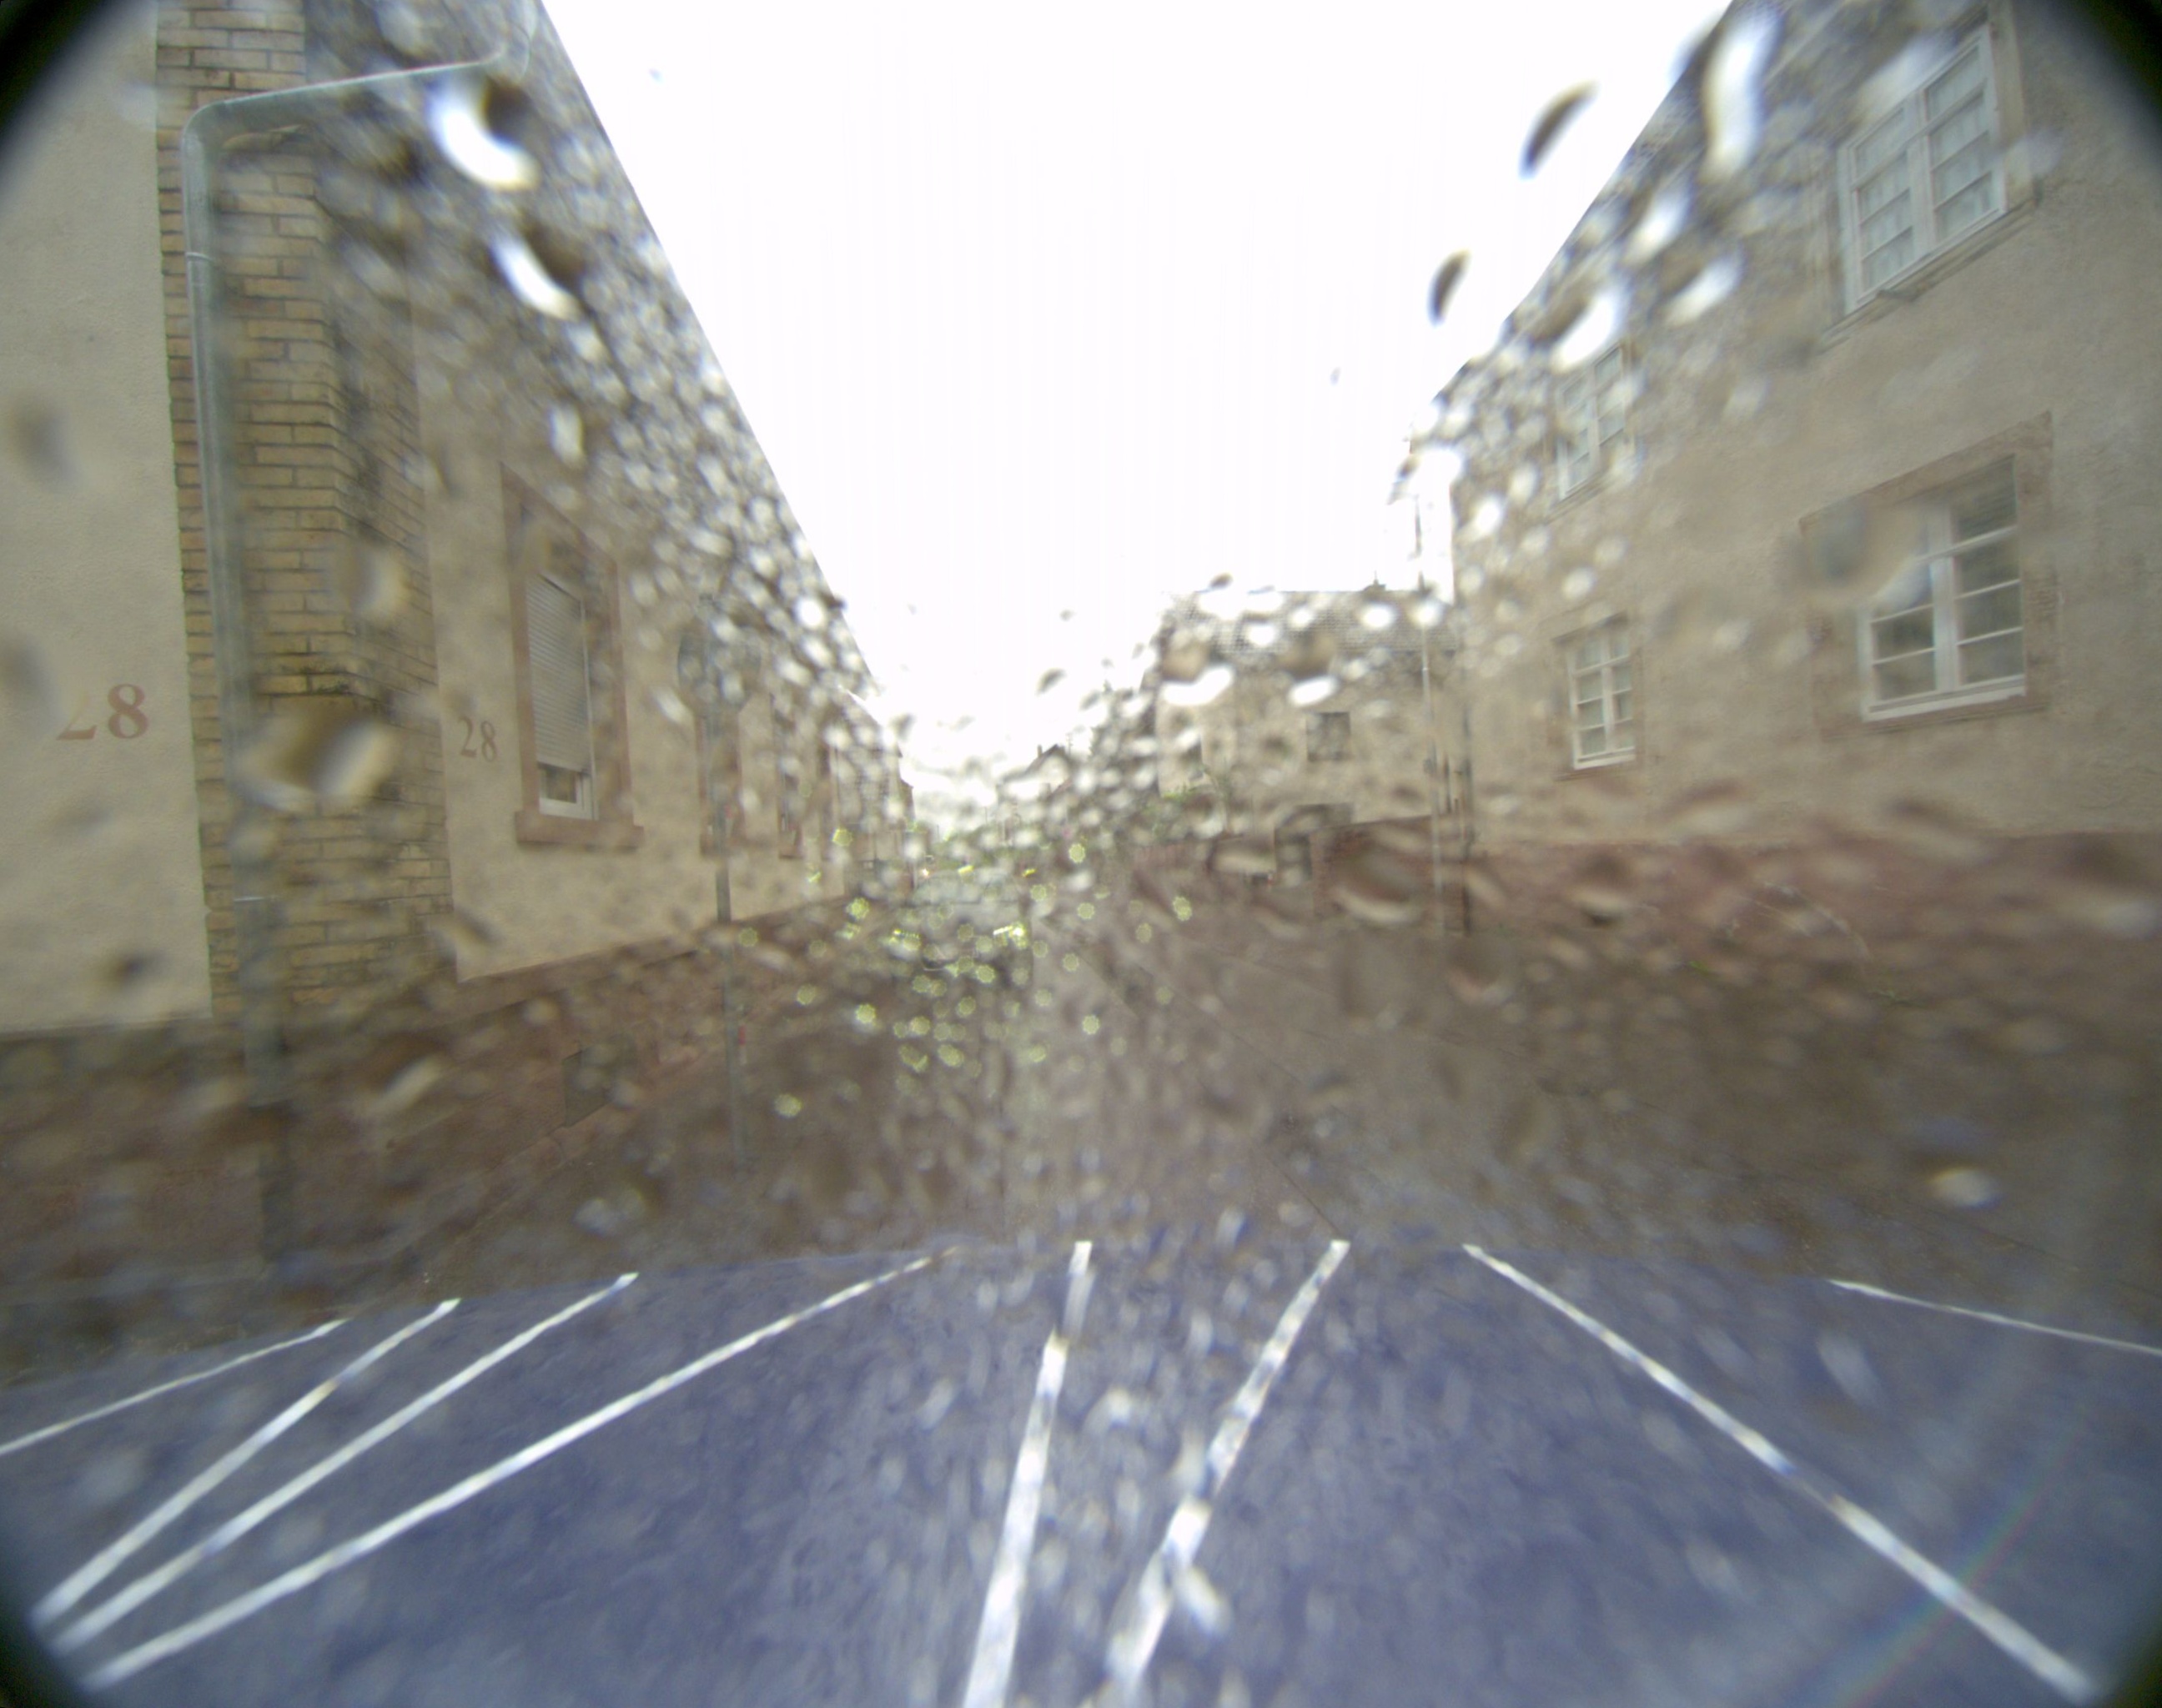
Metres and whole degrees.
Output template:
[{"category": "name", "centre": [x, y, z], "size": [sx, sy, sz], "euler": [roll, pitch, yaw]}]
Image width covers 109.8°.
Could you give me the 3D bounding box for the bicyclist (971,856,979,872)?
[{"category": "bicyclist", "centre": [-12.284, 1.205, 88.096], "size": [0.659, 1.759, 0.702], "euler": [-5, -1, -18]}]

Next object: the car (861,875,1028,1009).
[{"category": "car", "centre": [-1.770, 1.058, 10.814], "size": [1.781, 1.348, 4.187], "euler": [-5, -1, -6]}]

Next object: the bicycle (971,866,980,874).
[{"category": "bicycle", "centre": [-12.215, 1.873, 88.126], "size": [0.664, 0.865, 1.933], "euler": [-5, -1, -18]}]

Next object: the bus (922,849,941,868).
[{"category": "bus", "centre": [-25.358, 0.810, 129.218], "size": [2.816, 2.922, 11.930], "euler": [-5, 1, -11]}]

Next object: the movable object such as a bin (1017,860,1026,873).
[{"category": "movable object such as a bin", "centre": [-4.669, 0.995, 59.782], "size": [0.540, 0.925, 0.543], "euler": [-5, 2, -17]}]

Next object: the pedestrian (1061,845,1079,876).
[{"category": "pedestrian", "centre": [-0.656, 0.389, 44.127], "size": [0.697, 1.722, 0.820], "euler": [-6, 1, -15]}]

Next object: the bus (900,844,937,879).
[{"category": "bus", "centre": [-18.541, 0.779, 85.894], "size": [3.444, 3.392, 13.854], "euler": [-4, 1, -14]}]
